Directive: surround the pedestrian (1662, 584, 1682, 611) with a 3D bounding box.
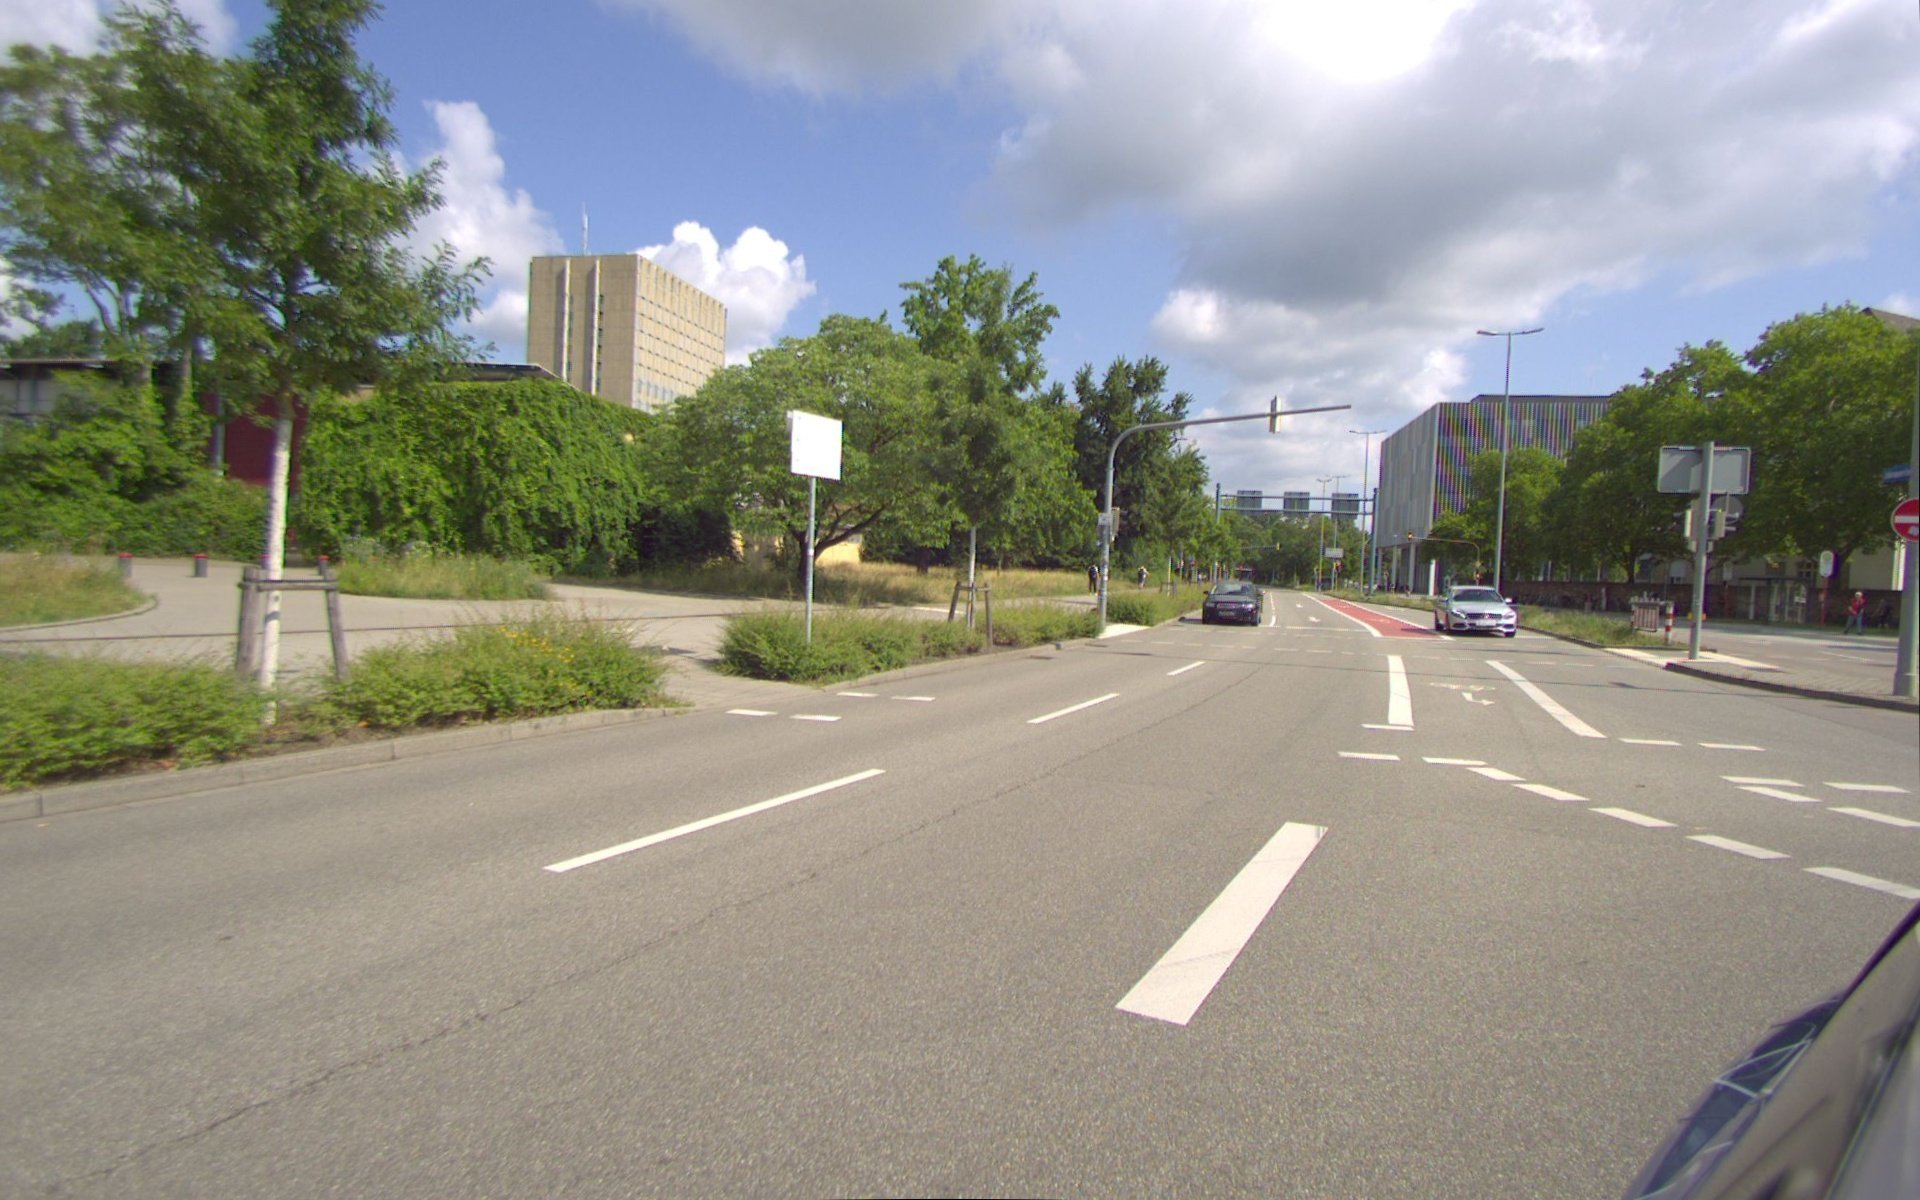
[{"bbox_3d":[48.482,-0.168,68.928,0.871,1.802,0.770,-1,1,5],"label":"pedestrian"}]

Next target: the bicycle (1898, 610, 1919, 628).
[{"bbox_3d":[50.263,1.019,53.461,0.953,0.859,0.483,3,2,-7],"label":"bicycle"}]

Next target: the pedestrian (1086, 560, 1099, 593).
[{"bbox_3d":[6.849,-1.217,52.395,0.533,1.628,0.522,3,0,11],"label":"pedestrian"}]

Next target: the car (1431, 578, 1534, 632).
[{"bbox_3d":[15.712,0.088,30.703,2.035,1.460,4.752,1,2,19],"label":"car"}]

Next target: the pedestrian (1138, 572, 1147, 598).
[{"bbox_3d":[12.784,-1.038,71.015,0.533,1.790,0.522,3,0,11],"label":"pedestrian"}]

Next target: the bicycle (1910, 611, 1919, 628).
[{"bbox_3d":[50.366,1.028,52.889,0.953,0.859,0.483,3,2,-7],"label":"bicycle"}]

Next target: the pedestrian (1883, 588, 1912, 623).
[{"bbox_3d":[48.713,0.297,52.592,0.650,1.743,0.744,3,2,-5],"label":"pedestrian"}]

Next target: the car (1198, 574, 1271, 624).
[{"bbox_3d":[9.001,-0.103,32.949,1.975,1.394,4.136,4,3,19],"label":"car"}]

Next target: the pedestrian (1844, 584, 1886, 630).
[{"bbox_3d":[36.758,0.281,41.110,0.736,1.802,0.965,2,2,4],"label":"pedestrian"}]
